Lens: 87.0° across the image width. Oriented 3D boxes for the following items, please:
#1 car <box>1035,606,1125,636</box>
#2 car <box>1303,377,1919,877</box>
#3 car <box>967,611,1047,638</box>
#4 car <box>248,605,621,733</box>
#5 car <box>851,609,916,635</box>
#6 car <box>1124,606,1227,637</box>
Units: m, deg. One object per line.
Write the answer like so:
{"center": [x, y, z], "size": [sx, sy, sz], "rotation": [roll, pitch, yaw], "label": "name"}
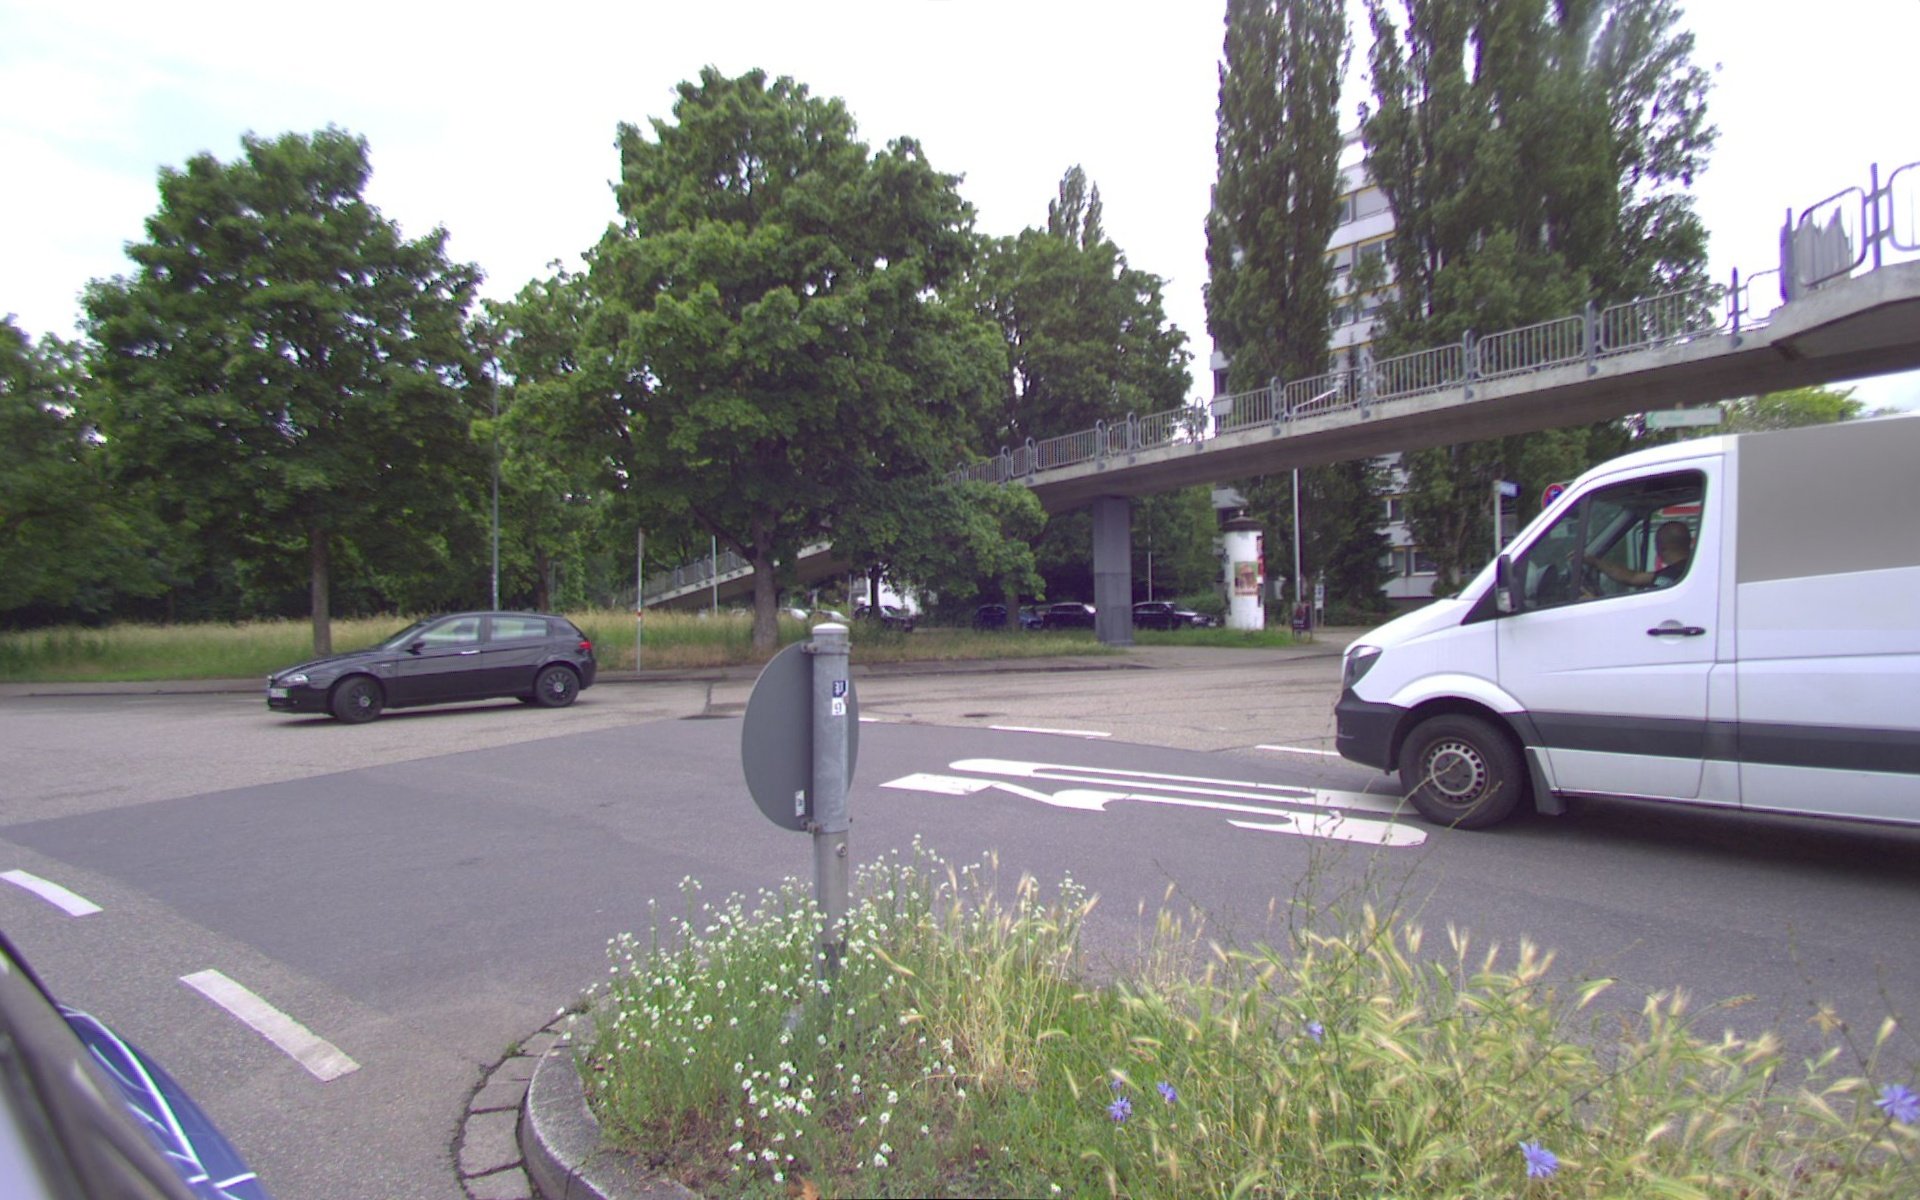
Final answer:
{"center": [5.430, 0.952, 46.174], "size": [1.667, 1.256, 4.007], "rotation": [-1, 0, -39], "label": "car"}
{"center": [4.899, 0.131, 5.701], "size": [5.210, 2.310, 2.110], "rotation": [-2, -1, 45], "label": "car"}
{"center": [2.280, 1.185, 49.887], "size": [1.667, 1.247, 4.007], "rotation": [-1, 0, -39], "label": "car"}
{"center": [-7.361, 0.866, 14.381], "size": [4.466, 1.468, 1.808], "rotation": [-1, -1, -37], "label": "car"}
{"center": [-4.388, 1.255, 57.459], "size": [1.667, 1.361, 4.007], "rotation": [-1, 0, -39], "label": "car"}
{"center": [8.880, 0.892, 41.942], "size": [1.667, 1.214, 4.007], "rotation": [-1, 0, -39], "label": "car"}
